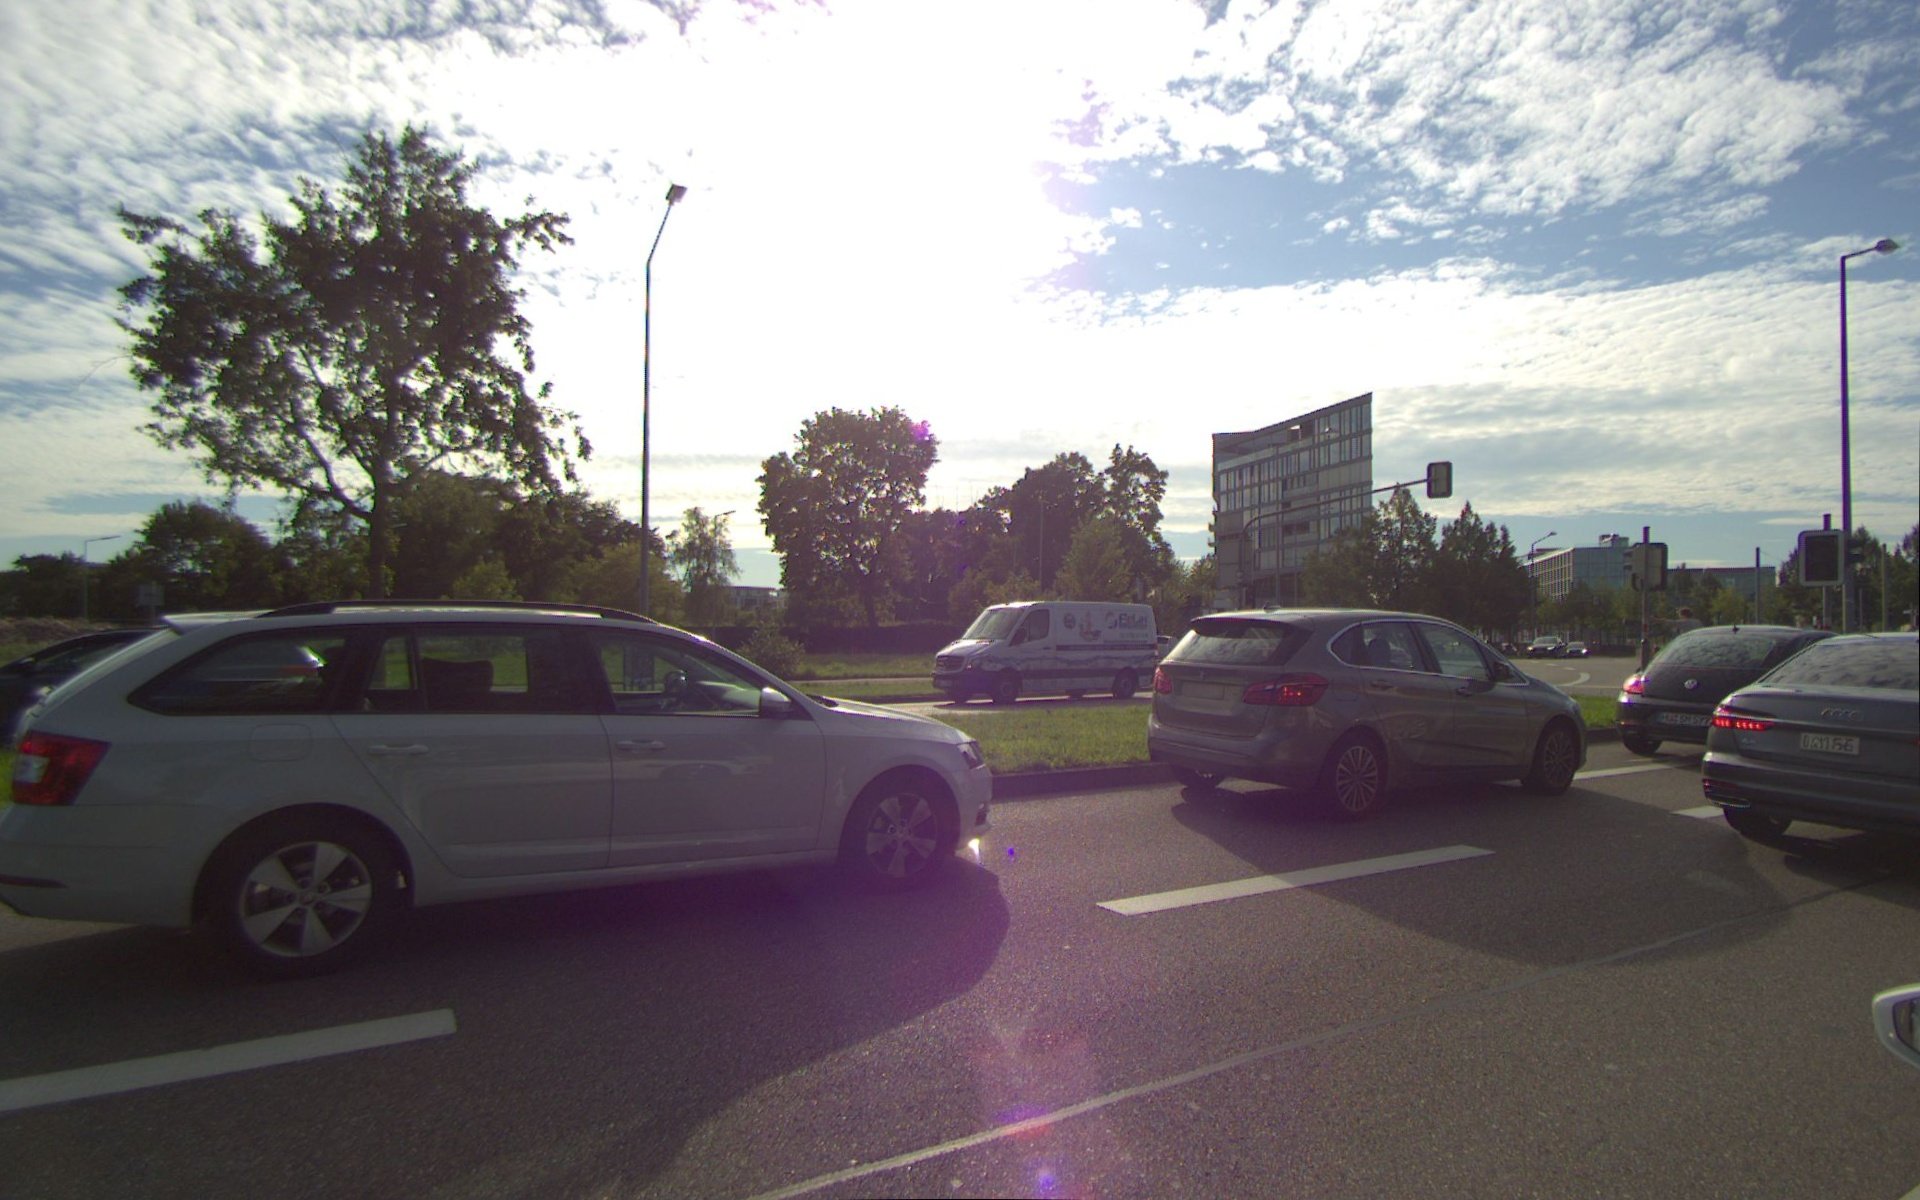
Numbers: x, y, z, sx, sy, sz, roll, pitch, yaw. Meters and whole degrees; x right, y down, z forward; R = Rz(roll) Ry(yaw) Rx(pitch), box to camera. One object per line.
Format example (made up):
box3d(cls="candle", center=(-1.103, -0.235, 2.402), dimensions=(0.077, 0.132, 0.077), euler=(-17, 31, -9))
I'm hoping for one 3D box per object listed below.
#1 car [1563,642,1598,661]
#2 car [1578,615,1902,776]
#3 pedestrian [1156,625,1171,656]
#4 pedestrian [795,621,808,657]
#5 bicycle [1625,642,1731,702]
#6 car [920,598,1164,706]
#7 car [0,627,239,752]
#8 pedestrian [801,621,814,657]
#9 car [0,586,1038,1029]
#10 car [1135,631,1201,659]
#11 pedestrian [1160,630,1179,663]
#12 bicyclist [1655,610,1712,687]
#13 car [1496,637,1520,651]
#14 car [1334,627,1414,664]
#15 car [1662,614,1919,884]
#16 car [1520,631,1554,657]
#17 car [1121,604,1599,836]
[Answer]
box3d(cls="car", center=(52.606, 4.341, 85.130), dimensions=(1.767, 1.595, 3.978), euler=(-2, -3, 42))
box3d(cls="car", center=(8.935, 0.979, 11.455), dimensions=(3.766, 1.543, 1.672), euler=(2, -1, -31))
box3d(cls="pedestrian", center=(13.213, 2.637, 65.278), dimensions=(0.863, 2.040, 0.936), euler=(0, -2, 8))
box3d(cls="pedestrian", center=(-9.087, 2.256, 57.519), dimensions=(0.675, 2.040, 0.641), euler=(0, -2, -5))
box3d(cls="bicycle", center=(14.777, 1.458, 20.705), dimensions=(1.707, 1.179, 0.652), euler=(-1, -2, 45))
box3d(cls="car", center=(2.031, 1.220, 23.656), dimensions=(5.867, 2.264, 1.980), euler=(2, -4, -36))
box3d(cls="car", center=(-11.547, 1.087, 12.331), dimensions=(4.159, 1.428, 1.892), euler=(2, -4, -31))
box3d(cls="pedestrian", center=(-8.888, 2.265, 58.504), dimensions=(0.723, 2.040, 0.739), euler=(0, -2, -6))
box3d(cls="car", center=(-1.897, 0.779, 5.255), dimensions=(4.429, 1.518, 1.690), euler=(2, -1, -31))
box3d(cls="car", center=(12.033, 2.594, 58.069), dimensions=(3.437, 1.613, 1.592), euler=(-2, -3, 28))
box3d(cls="pedestrian", center=(10.224, 2.270, 48.983), dimensions=(0.610, 1.589, 0.650), euler=(2, -2, -37))
box3d(cls="bicyclist", center=(14.856, 0.987, 20.636), dimensions=(0.840, 1.546, 0.736), euler=(-2, -3, 44))
box3d(cls="car", center=(66.405, 5.342, 121.808), dimensions=(1.678, 1.713, 4.002), euler=(0, -2, 16))
box3d(cls="car", center=(21.124, 2.303, 51.425), dimensions=(1.683, 1.793, 3.987), euler=(1, -2, -16))
box3d(cls="car", center=(7.178, 0.911, 7.137), dimensions=(4.559, 1.502, 1.881), euler=(2, -1, -31))
box3d(cls="car", center=(37.192, 2.800, 64.741), dimensions=(1.682, 1.594, 3.990), euler=(-1, -2, 33))
box3d(cls="car", center=(3.480, 0.868, 8.590), dimensions=(3.971, 1.579, 1.721), euler=(2, -1, -30))
